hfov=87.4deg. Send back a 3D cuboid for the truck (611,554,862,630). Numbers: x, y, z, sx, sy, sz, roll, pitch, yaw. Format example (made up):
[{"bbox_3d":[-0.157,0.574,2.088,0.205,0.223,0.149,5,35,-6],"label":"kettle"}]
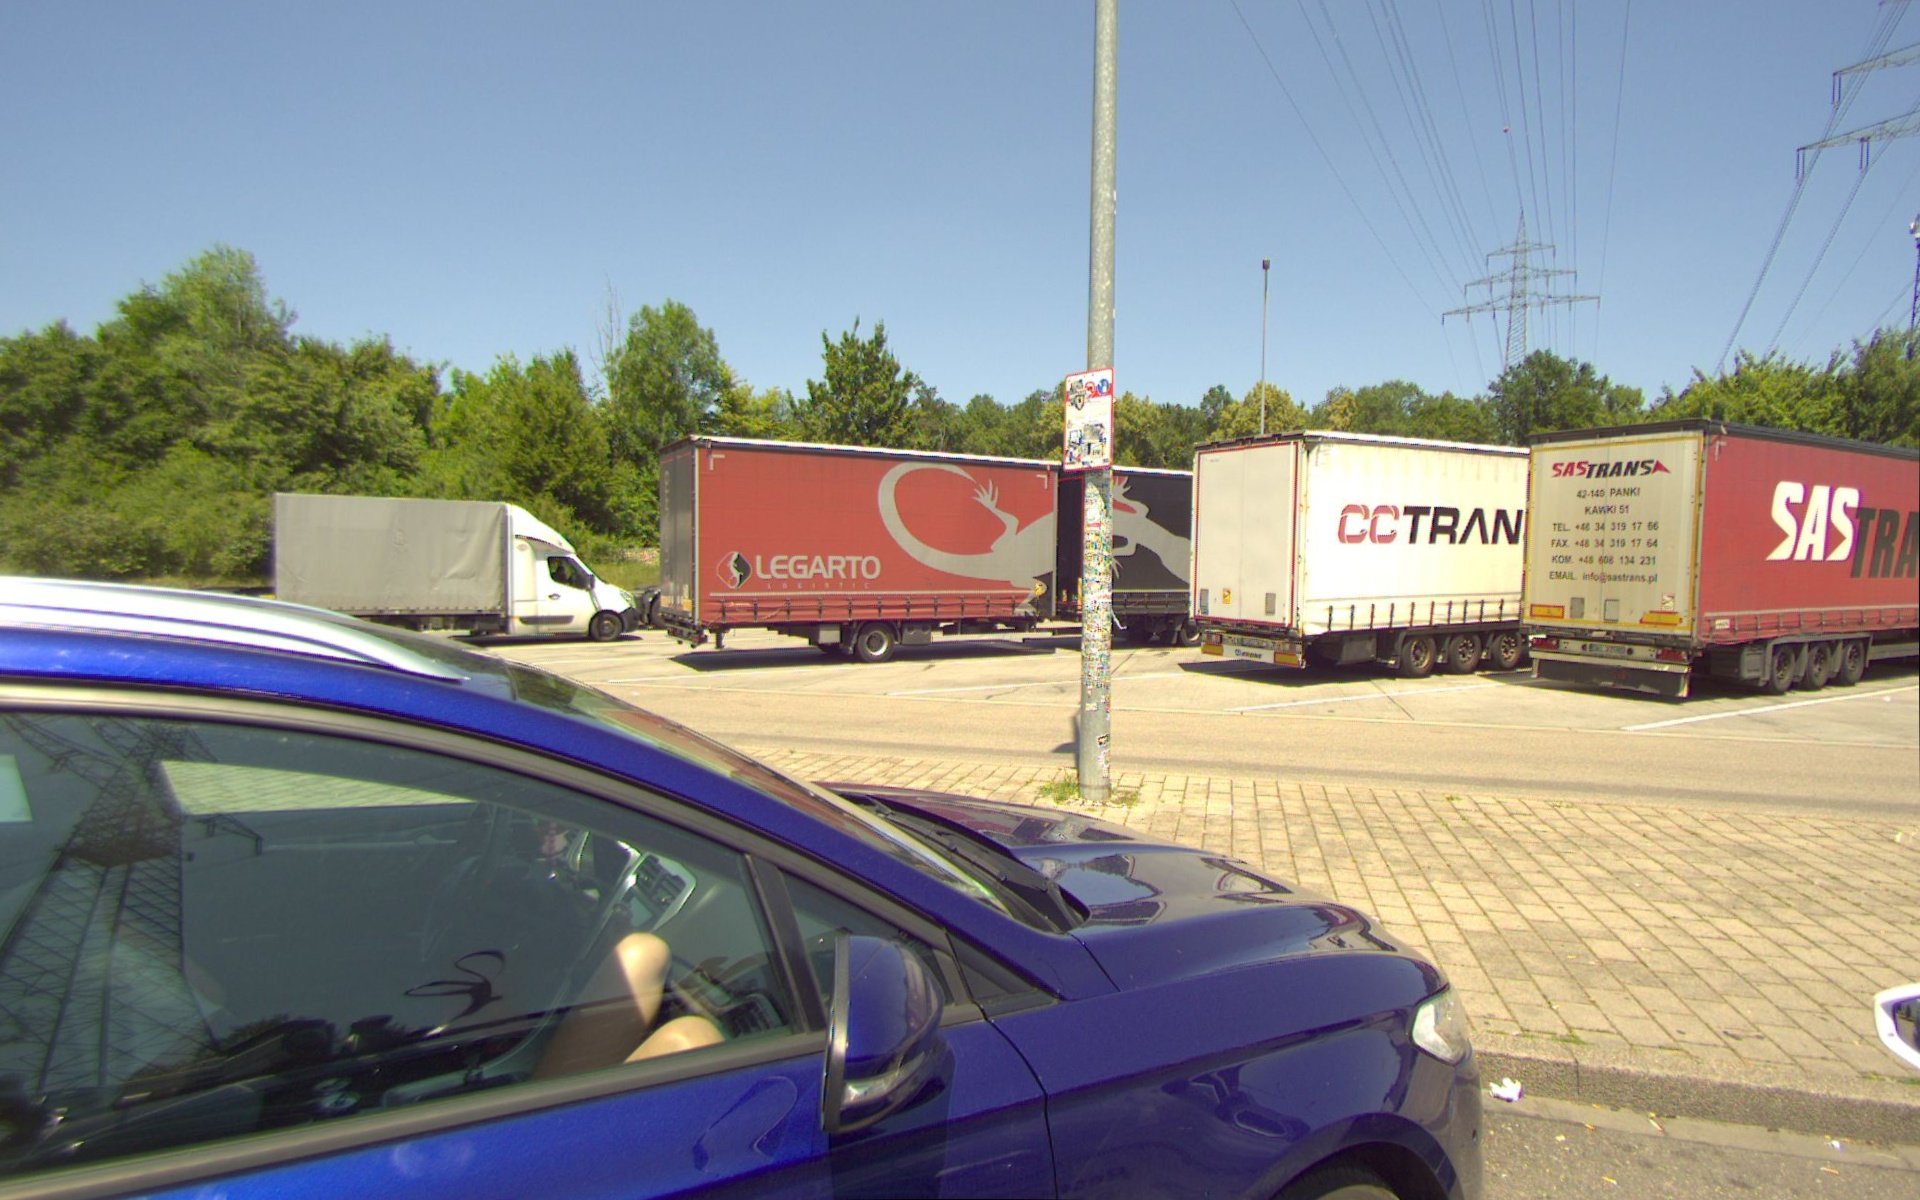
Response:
[{"bbox_3d":[-6.471,-0.197,29.536,6.961,2.040,1.984,0,0,-30],"label":"truck"}]

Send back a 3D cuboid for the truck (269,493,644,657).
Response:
[{"bbox_3d":[-11.192,-0.598,22.913,7.254,3.254,2.515,-1,3,-30],"label":"truck"}]

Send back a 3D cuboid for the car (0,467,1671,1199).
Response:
[{"bbox_3d":[-0.974,0.657,1.480,4.592,1.502,1.727,0,0,-33],"label":"car"}]

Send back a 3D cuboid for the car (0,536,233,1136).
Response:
[{"bbox_3d":[-4.547,0.584,2.265,4.592,1.554,1.726,0,1,-33],"label":"car"}]

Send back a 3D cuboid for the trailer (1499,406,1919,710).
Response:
[{"bbox_3d":[15.415,-0.723,18.568,13.559,4.189,2.892,-1,3,-30],"label":"trailer"}]

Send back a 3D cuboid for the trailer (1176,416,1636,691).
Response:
[{"bbox_3d":[8.876,-0.841,19.334,10.048,4.268,2.714,-1,3,-30],"label":"trailer"}]

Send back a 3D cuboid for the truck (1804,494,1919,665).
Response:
[{"bbox_3d":[21.737,-0.457,22.312,5.418,3.475,2.838,-1,3,-30],"label":"truck"}]

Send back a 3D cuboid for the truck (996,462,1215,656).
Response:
[{"bbox_3d":[3.366,-0.930,23.368,4.273,4.072,2.689,-1,3,-30],"label":"truck"}]

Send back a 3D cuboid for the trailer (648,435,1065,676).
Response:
[{"bbox_3d":[-1.917,-0.852,20.275,7.996,4.101,2.696,-1,3,-30],"label":"trailer"}]

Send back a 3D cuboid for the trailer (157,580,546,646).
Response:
[{"bbox_3d":[-14.820,0.231,25.198,7.996,1.394,2.211,-1,3,-30],"label":"trailer"}]
